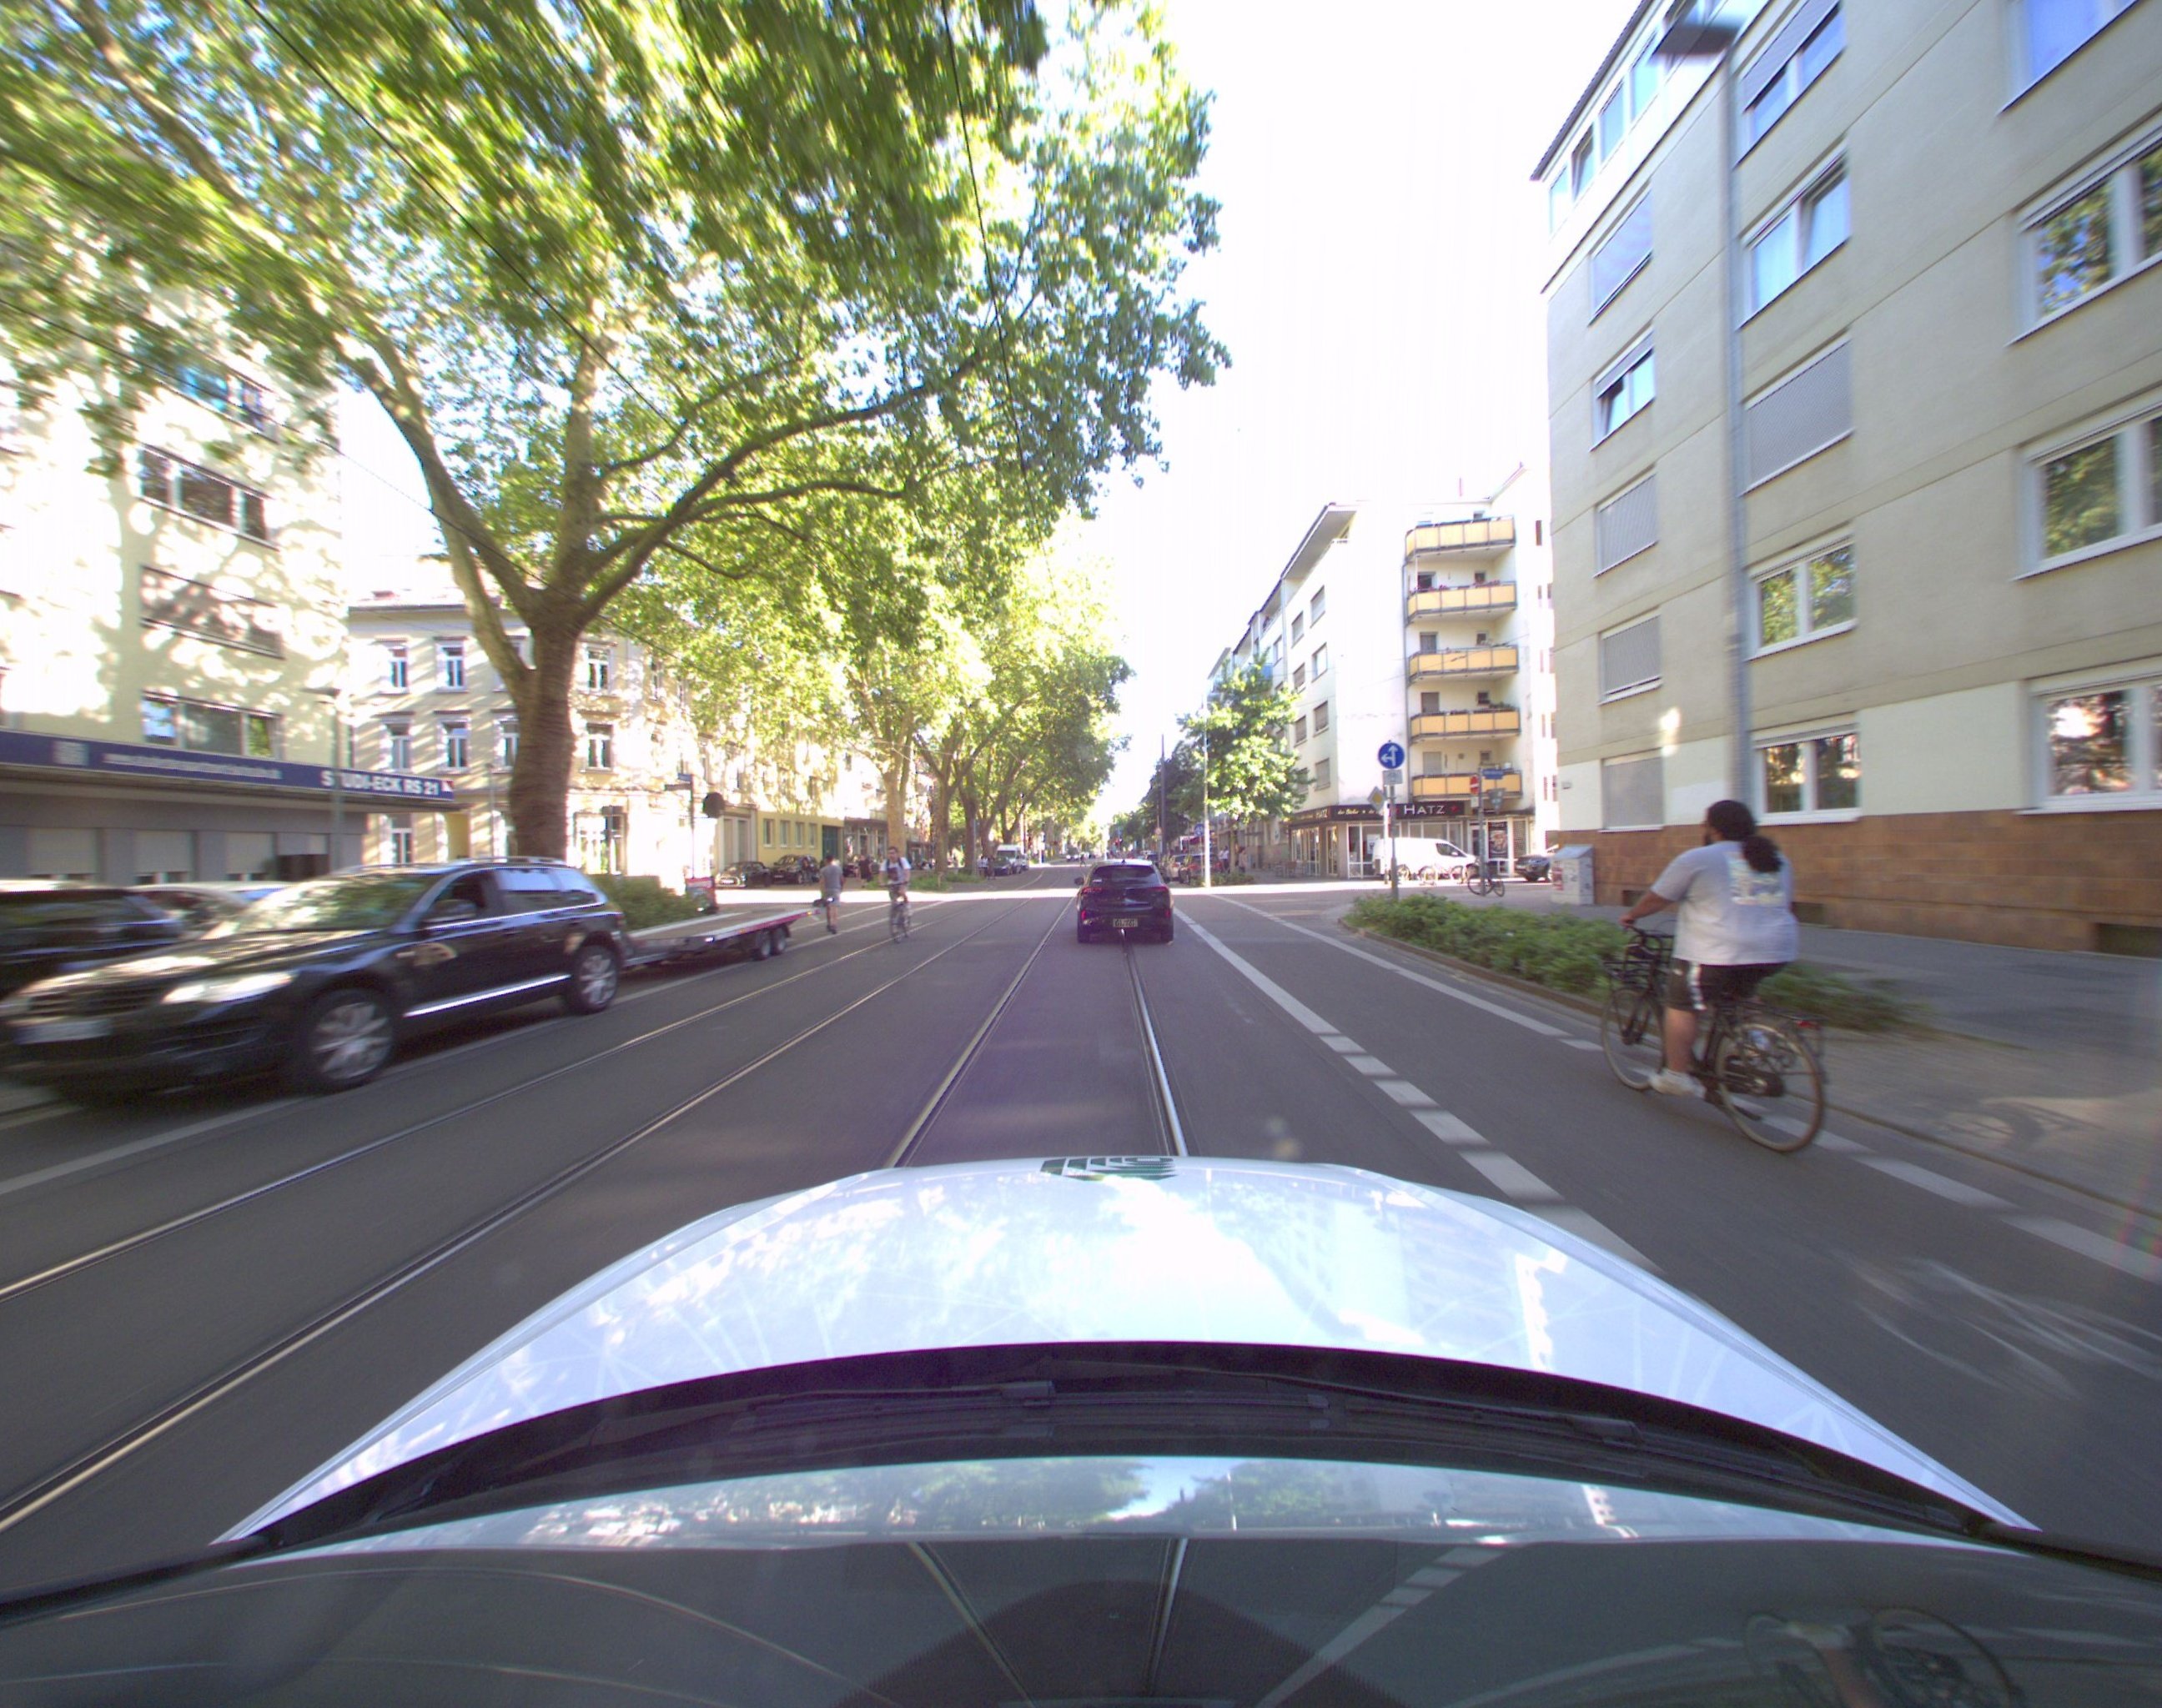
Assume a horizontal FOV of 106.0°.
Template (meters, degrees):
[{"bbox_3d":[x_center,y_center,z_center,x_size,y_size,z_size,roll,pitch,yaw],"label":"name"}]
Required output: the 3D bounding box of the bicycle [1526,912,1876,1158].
[{"bbox_3d":[3.632,0.972,5.055,0.698,1.092,1.990,1,-1,1],"label":"bicycle"}]

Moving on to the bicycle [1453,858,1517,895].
[{"bbox_3d":[11.797,0.629,23.859,0.801,1.015,1.966,-2,0,-4],"label":"bicycle"}]

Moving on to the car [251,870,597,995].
[{"bbox_3d":[-9.207,1.050,11.670,3.421,1.530,1.786,-1,0,-2],"label":"car"}]

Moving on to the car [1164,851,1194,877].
[{"bbox_3d":[6.114,0.614,51.170,1.644,1.574,3.086,-1,0,3],"label":"car"}]

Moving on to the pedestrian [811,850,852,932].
[{"bbox_3d":[-5.534,0.808,18.106,0.712,1.735,0.909,-3,0,-13],"label":"pedestrian"}]

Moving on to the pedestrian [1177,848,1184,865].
[{"bbox_3d":[10.430,0.269,85.278,0.626,1.732,0.633,-1,0,6],"label":"pedestrian"}]

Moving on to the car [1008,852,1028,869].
[{"bbox_3d":[-6.496,0.665,84.324,1.990,1.717,3.994,-1,0,-4],"label":"car"}]

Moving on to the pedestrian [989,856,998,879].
[{"bbox_3d":[-6.242,0.976,58.003,0.505,1.583,0.527,-1,0,1],"label":"pedestrian"}]

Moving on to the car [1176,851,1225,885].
[{"bbox_3d":[6.005,0.672,41.477,1.714,1.574,4.081,-1,0,-2],"label":"car"}]

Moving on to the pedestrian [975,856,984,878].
[{"bbox_3d":[-7.204,0.923,57.885,0.505,1.583,0.526,-1,0,-3],"label":"pedestrian"}]

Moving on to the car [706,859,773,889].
[{"bbox_3d":[-17.918,1.017,42.916,1.675,1.464,4.002,-1,0,2],"label":"car"}]

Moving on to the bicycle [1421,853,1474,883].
[{"bbox_3d":[14.104,0.540,31.405,1.759,1.117,0.616,-2,0,14],"label":"bicycle"}]

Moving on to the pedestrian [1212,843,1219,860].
[{"bbox_3d":[13.500,-0.232,81.555,0.626,1.732,0.633,-1,0,7],"label":"pedestrian"}]

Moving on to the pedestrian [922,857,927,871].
[{"bbox_3d":[-17.076,1.103,88.892,0.505,1.583,0.526,-1,0,-2],"label":"pedestrian"}]

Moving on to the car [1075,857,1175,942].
[{"bbox_3d":[0.772,0.763,15.476,1.674,1.422,3.628,0,0,1],"label":"car"}]

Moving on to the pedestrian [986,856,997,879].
[{"bbox_3d":[-6.424,0.968,58.655,0.681,1.583,0.557,-1,0,-1],"label":"pedestrian"}]

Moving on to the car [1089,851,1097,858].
[{"bbox_3d":[3.068,0.144,201.674,1.743,1.651,4.003,-1,0,3],"label":"car"}]

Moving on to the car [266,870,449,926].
[{"bbox_3d":[-22.555,1.344,25.517,3.977,1.535,1.819,-2,0,-3],"label":"car"}]

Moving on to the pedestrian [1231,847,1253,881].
[{"bbox_3d":[7.782,0.470,39.457,0.847,1.616,0.775,-2,0,24],"label":"pedestrian"}]

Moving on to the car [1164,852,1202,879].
[{"bbox_3d":[5.839,0.645,47.150,1.712,1.490,3.681,-1,0,0],"label":"car"}]

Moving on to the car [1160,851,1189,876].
[{"bbox_3d":[6.249,0.593,54.967,1.711,1.574,3.685,-1,0,3],"label":"car"}]

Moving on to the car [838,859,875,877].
[{"bbox_3d":[-17.155,1.070,62.367,1.689,1.276,3.829,-1,0,1],"label":"car"}]

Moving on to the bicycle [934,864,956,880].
[{"bbox_3d":[-9.661,1.267,57.917,1.674,1.062,0.455,0,-1,31],"label":"bicycle"}]

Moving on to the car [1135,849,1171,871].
[{"bbox_3d":[5.754,0.499,65.766,1.993,1.640,3.988,-1,0,-9],"label":"car"}]

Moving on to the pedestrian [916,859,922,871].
[{"bbox_3d":[-17.753,1.229,89.213,0.505,1.333,0.526,-1,0,-2],"label":"pedestrian"}]

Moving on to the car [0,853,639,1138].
[{"bbox_3d":[-6.270,0.890,7.304,1.986,1.700,4.486,-3,0,1],"label":"car"}]

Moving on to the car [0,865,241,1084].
[{"bbox_3d":[-10.265,0.978,7.041,3.974,1.647,1.894,-1,0,0],"label":"car"}]

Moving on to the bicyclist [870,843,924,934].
[{"bbox_3d":[-3.505,0.644,15.607,0.782,1.678,0.957,-2,0,-1],"label":"bicyclist"}]

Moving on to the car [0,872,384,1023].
[{"bbox_3d":[-11.023,1.038,9.625,3.974,1.522,1.771,-1,0,0],"label":"car"}]

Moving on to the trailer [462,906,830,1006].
[{"bbox_3d":[-6.082,1.402,12.742,2.153,0.632,6.402,-3,0,1],"label":"trailer"}]

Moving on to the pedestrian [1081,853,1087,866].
[{"bbox_3d":[0.374,0.655,96.931,0.594,1.590,0.891,-2,0,-5],"label":"pedestrian"}]

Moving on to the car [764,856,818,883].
[{"bbox_3d":[-17.545,0.908,49.448,1.675,1.517,4.002,0,0,2],"label":"car"}]

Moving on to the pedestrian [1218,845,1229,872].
[{"bbox_3d":[8.969,0.272,51.368,0.597,1.651,0.631,-1,0,3],"label":"pedestrian"}]

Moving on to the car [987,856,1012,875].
[{"bbox_3d":[-6.750,0.925,67.663,1.749,1.508,3.997,-1,0,-2],"label":"car"}]

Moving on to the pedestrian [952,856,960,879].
[{"bbox_3d":[-8.935,0.960,58.339,0.507,1.583,0.525,-1,0,-10],"label":"pedestrian"}]

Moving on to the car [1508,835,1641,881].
[{"bbox_3d":[18.906,0.141,31.308,3.991,1.606,1.804,-1,0,1],"label":"car"}]

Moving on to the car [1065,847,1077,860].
[{"bbox_3d":[-1.796,-0.020,144.965,1.989,2.211,5.097,-1,0,-3],"label":"car"}]

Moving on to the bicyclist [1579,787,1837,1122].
[{"bbox_3d":[3.607,0.534,4.784,0.784,1.759,0.915,-1,0,1],"label":"bicyclist"}]

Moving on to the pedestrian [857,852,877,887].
[{"bbox_3d":[-11.505,0.837,43.739,0.903,1.869,0.643,-1,0,-5],"label":"pedestrian"}]

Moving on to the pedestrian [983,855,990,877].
[{"bbox_3d":[-6.740,0.872,58.067,0.345,1.583,0.508,-1,0,0],"label":"pedestrian"}]

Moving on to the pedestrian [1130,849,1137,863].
[{"bbox_3d":[7.469,0.289,115.907,0.853,2.013,1.070,-6,-1,2],"label":"pedestrian"}]

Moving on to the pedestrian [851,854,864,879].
[{"bbox_3d":[-14.768,0.822,53.777,0.549,1.652,0.650,-2,0,5],"label":"pedestrian"}]

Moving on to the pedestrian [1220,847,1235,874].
[{"bbox_3d":[9.422,0.405,52.342,0.789,1.748,0.771,-1,0,4],"label":"pedestrian"}]

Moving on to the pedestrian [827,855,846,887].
[{"bbox_3d":[-13.003,0.893,43.304,0.845,1.632,0.643,-1,0,-5],"label":"pedestrian"}]

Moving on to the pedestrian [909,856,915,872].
[{"bbox_3d":[-17.643,1.028,85.128,0.552,1.583,0.573,-1,0,-3],"label":"pedestrian"}]

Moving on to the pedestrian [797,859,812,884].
[{"bbox_3d":[-16.085,1.011,47.352,0.549,1.403,0.650,-2,0,5],"label":"pedestrian"}]

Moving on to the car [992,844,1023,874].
[{"bbox_3d":[-6.611,0.409,73.882,2.085,2.584,5.998,-1,0,1],"label":"car"}]

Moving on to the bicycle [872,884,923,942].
[{"bbox_3d":[-3.492,1.100,15.614,0.519,0.962,1.928,-2,0,0],"label":"bicycle"}]

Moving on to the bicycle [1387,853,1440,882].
[{"bbox_3d":[13.277,0.529,32.556,1.827,1.117,0.704,-2,0,4],"label":"bicycle"}]

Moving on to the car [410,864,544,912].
[{"bbox_3d":[-23.365,1.291,31.626,3.632,1.584,2.002,-1,3,2],"label":"car"}]

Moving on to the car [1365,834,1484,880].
[{"bbox_3d":[15.047,0.134,35.833,4.348,1.831,1.998,-1,0,-3],"label":"car"}]
